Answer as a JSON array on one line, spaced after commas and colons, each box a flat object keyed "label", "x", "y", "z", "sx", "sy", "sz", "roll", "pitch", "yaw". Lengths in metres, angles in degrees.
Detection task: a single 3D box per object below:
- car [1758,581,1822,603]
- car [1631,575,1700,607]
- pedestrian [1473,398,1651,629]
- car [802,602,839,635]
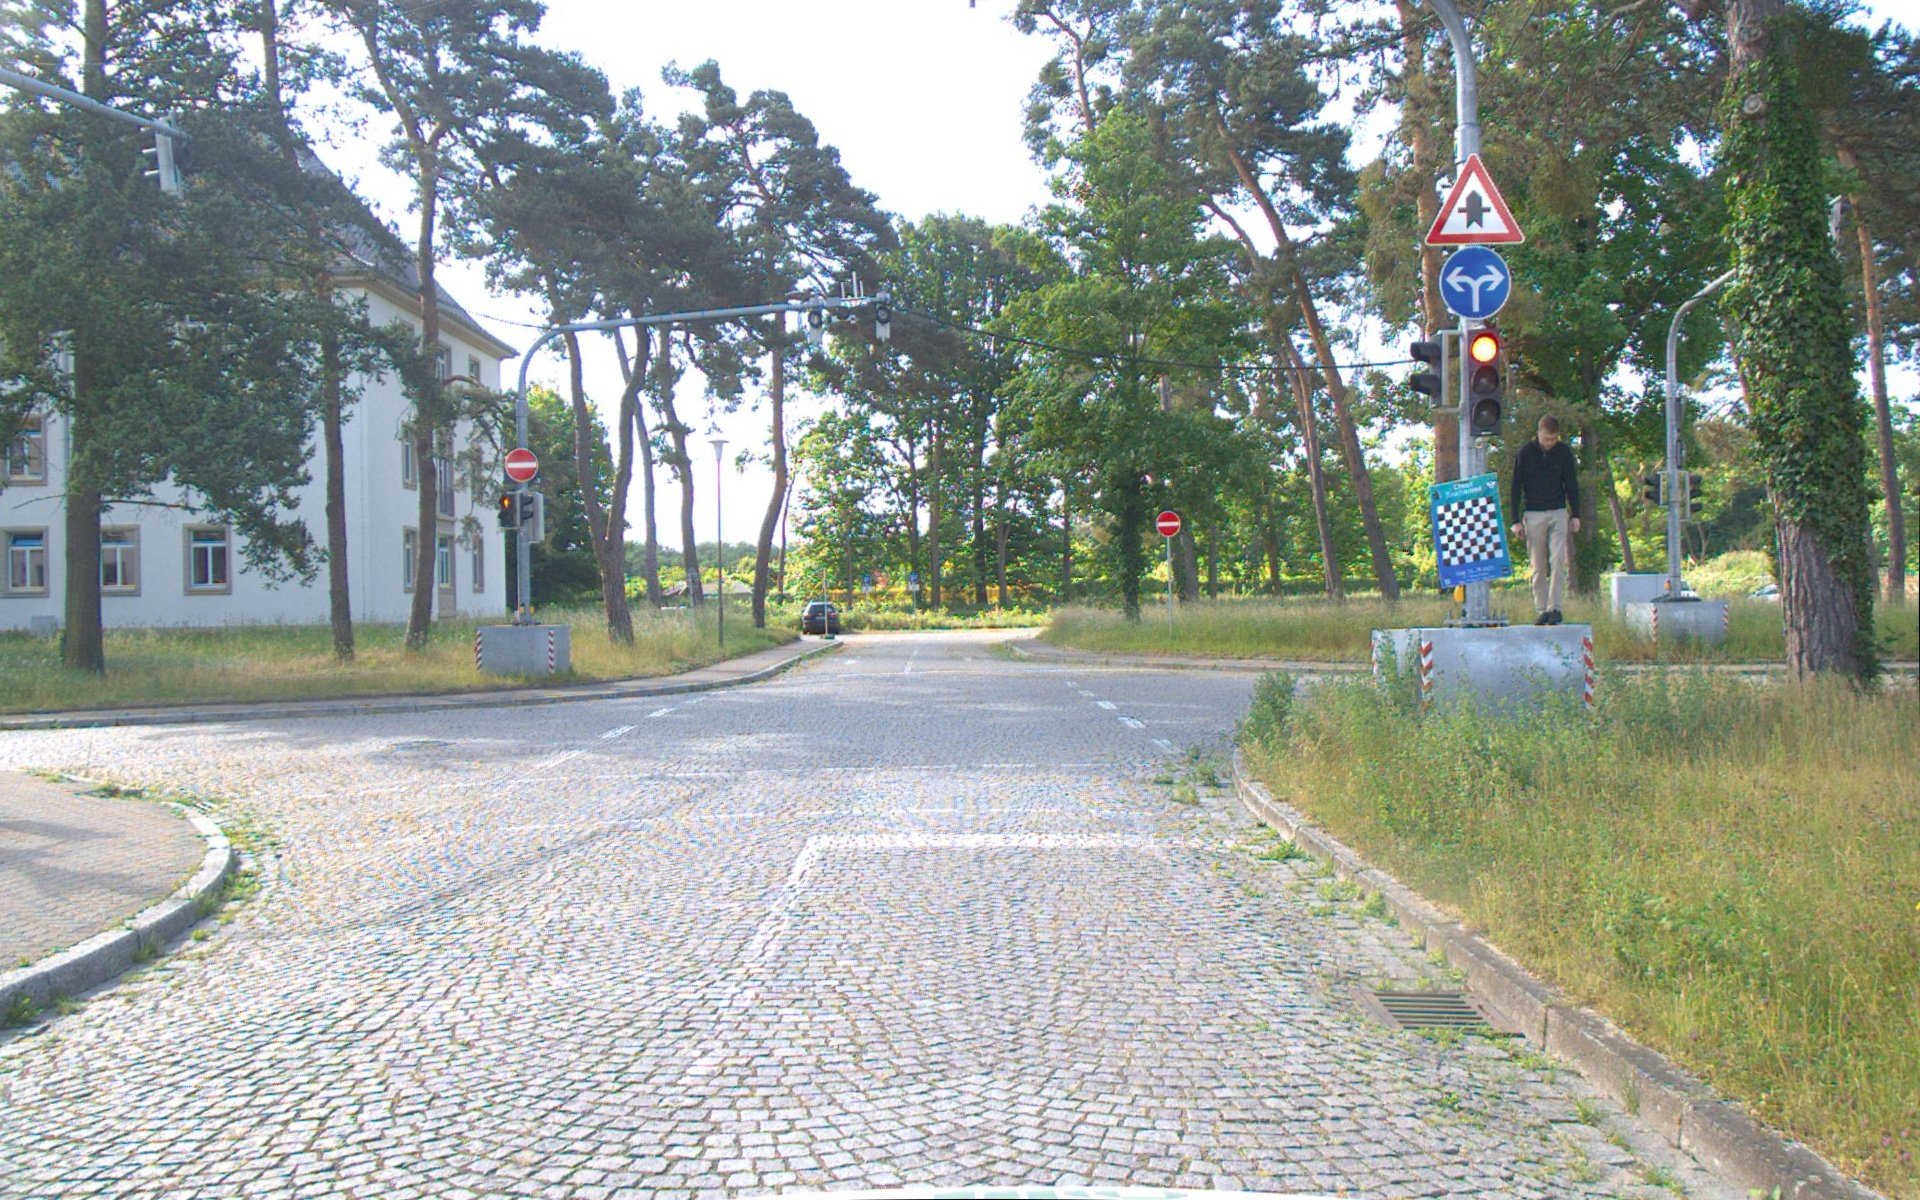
[{"label": "car", "x": 44.479, "y": -0.407, "z": 88.726, "sx": 1.686, "sy": 1.106, "sz": 4.003, "roll": -1, "pitch": 0, "yaw": 5}, {"label": "car", "x": 37.589, "y": -0.479, "z": 88.207, "sx": 1.790, "sy": 1.609, "sz": 4.162, "roll": -1, "pitch": 0, "yaw": -1}, {"label": "pedestrian", "x": 5.038, "y": -0.698, "z": 13.937, "sx": 1.143, "sy": 1.827, "sz": 1.063, "roll": -2, "pitch": 0, "yaw": 7}, {"label": "car", "x": -6.834, "y": 0.886, "z": 81.438, "sx": 1.676, "sy": 1.522, "sz": 3.916, "roll": -1, "pitch": 0, "yaw": -3}]
